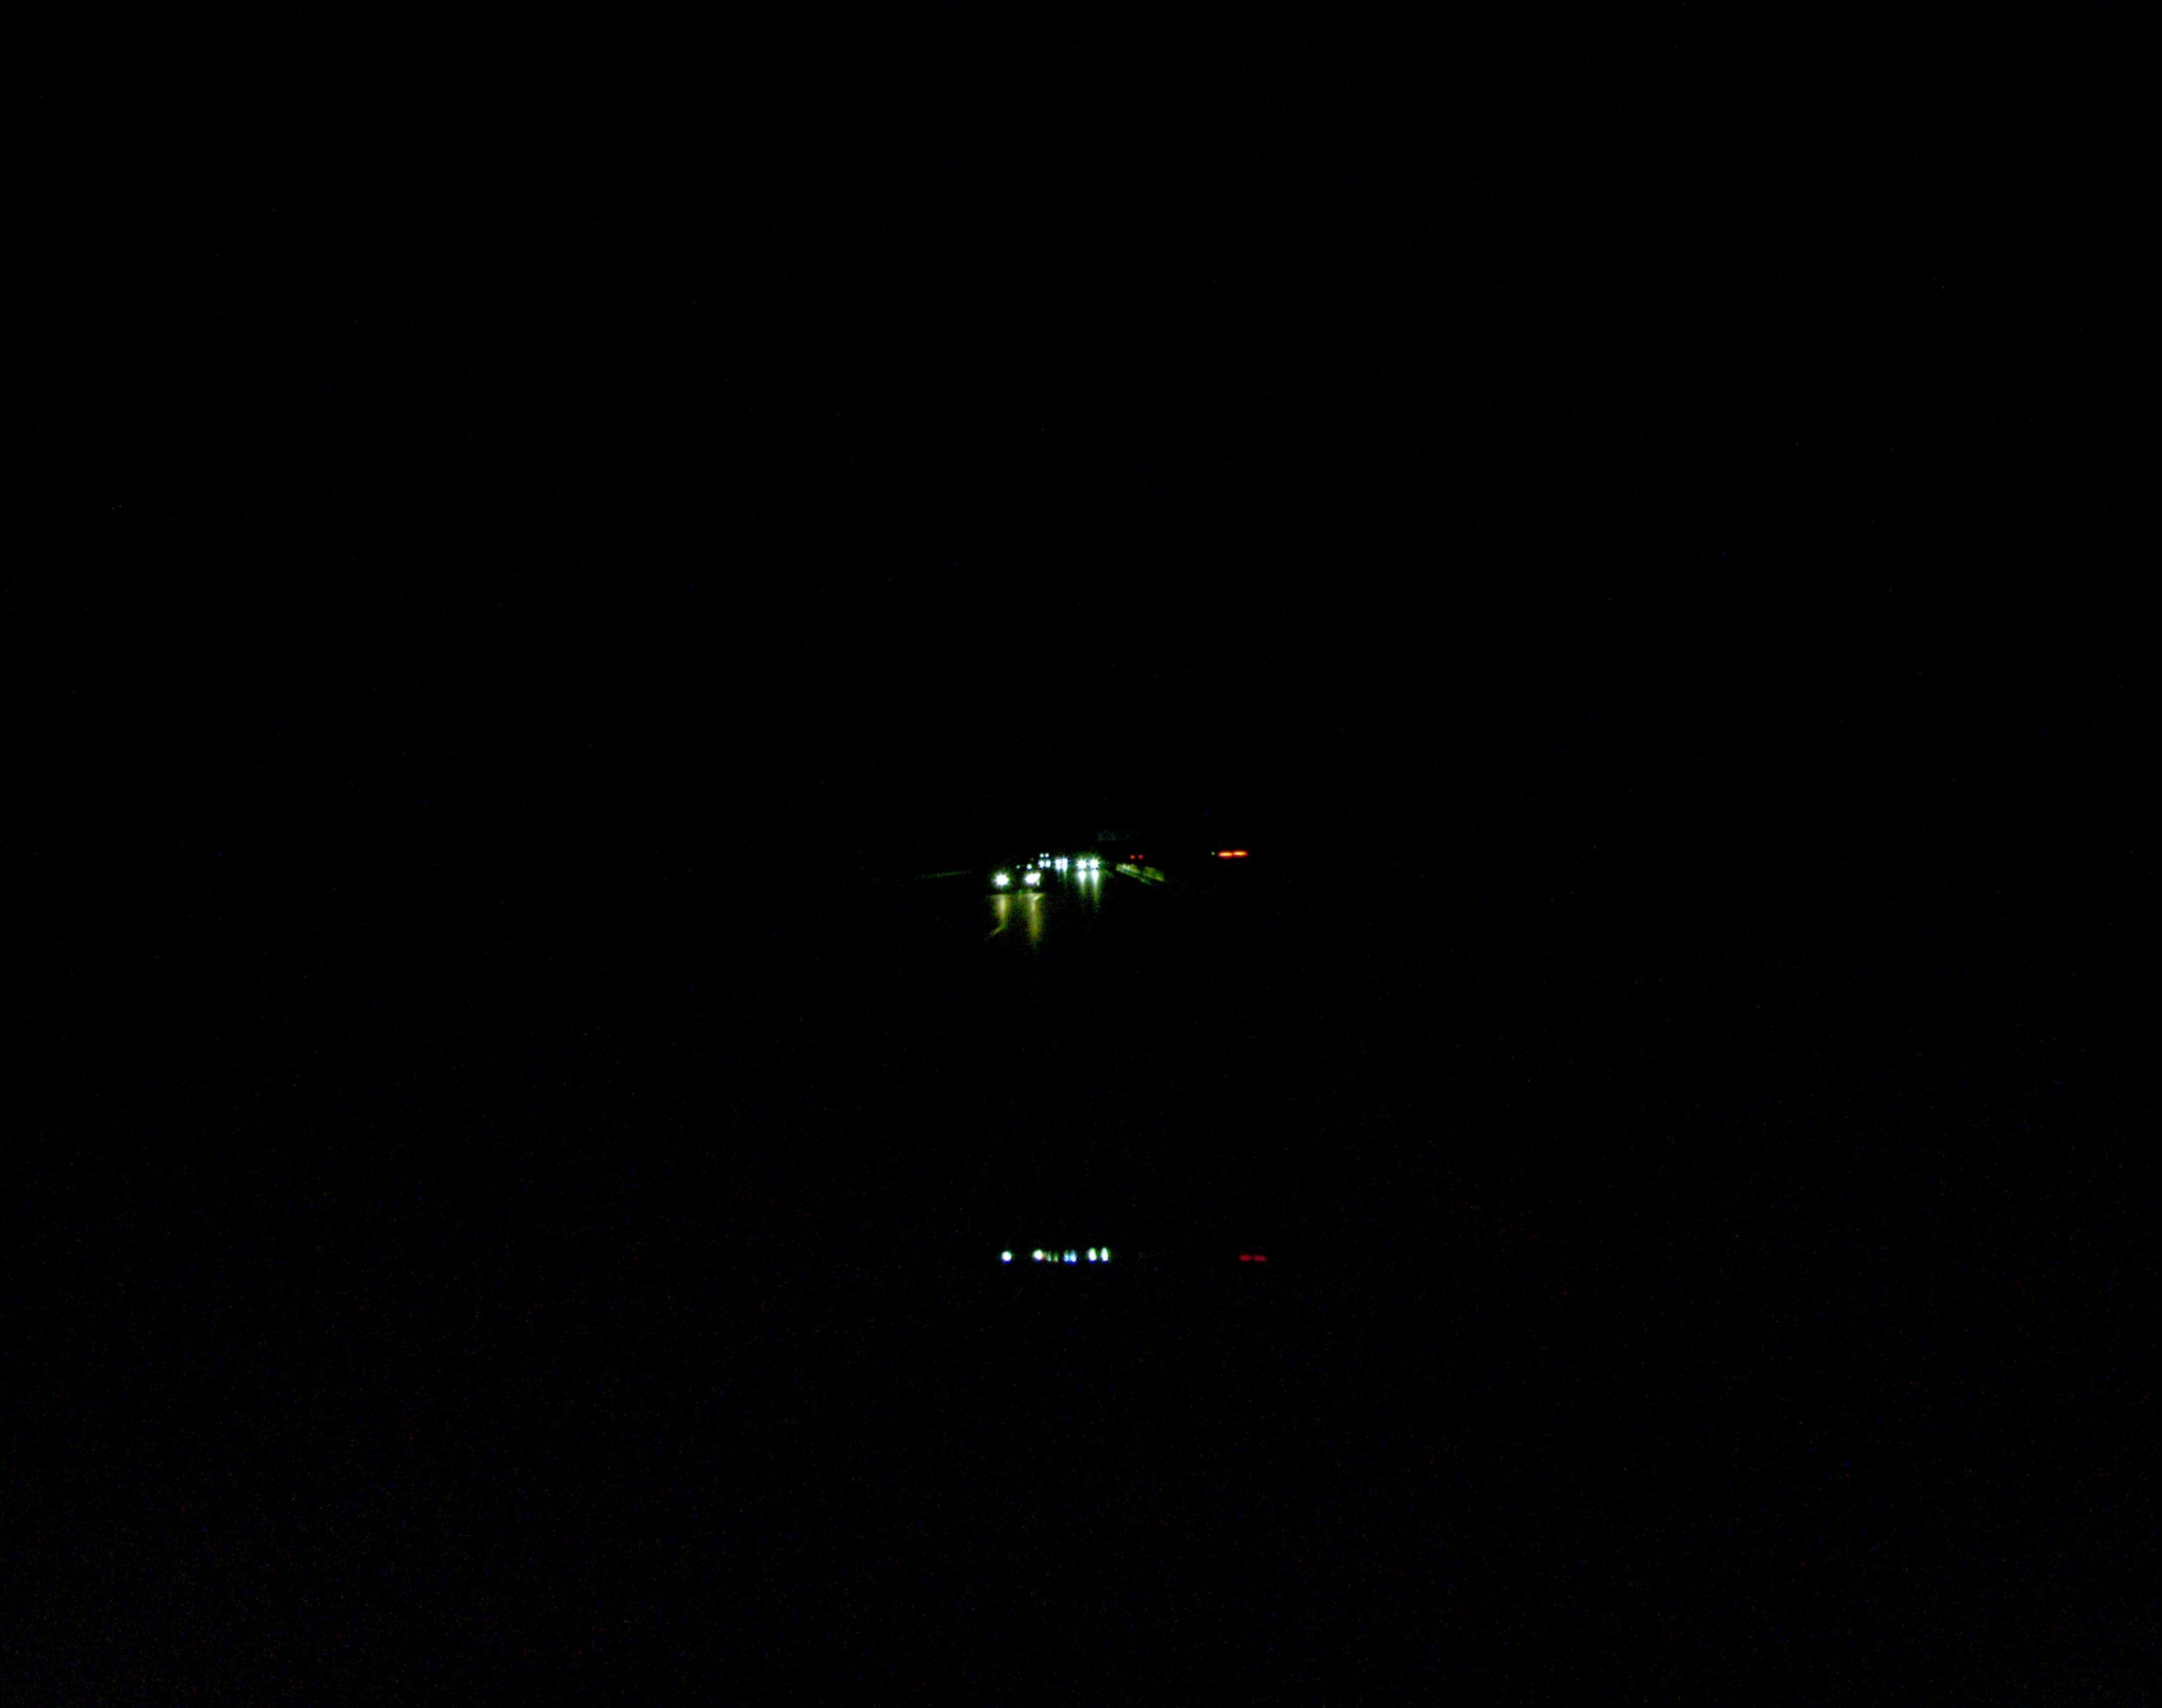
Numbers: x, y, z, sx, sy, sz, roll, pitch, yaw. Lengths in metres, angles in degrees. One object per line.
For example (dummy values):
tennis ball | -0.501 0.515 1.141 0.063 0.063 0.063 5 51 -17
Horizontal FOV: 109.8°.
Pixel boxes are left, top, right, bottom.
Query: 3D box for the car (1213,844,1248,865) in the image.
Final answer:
car | 12.421 0.061 63.459 1.938 1.552 4.453 -4 0 0

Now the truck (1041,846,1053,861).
truck | -11.196 -0.185 249.134 3.347 4.407 6.990 -5 0 -5

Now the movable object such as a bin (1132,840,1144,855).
movable object such as a bin | 14.679 -1.683 196.285 2.299 3.747 7.685 -3 0 0

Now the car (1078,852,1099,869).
car | 0.848 0.697 83.528 2.011 1.652 4.001 -4 0 2

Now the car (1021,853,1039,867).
car | -6.657 0.805 99.380 1.999 1.707 5.167 -4 0 -2

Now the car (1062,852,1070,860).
car | -3.539 0.487 179.097 1.939 1.608 3.999 -4 0 -1

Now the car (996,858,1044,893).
car | -2.830 0.964 36.038 1.840 1.393 5.069 -4 0 -1
